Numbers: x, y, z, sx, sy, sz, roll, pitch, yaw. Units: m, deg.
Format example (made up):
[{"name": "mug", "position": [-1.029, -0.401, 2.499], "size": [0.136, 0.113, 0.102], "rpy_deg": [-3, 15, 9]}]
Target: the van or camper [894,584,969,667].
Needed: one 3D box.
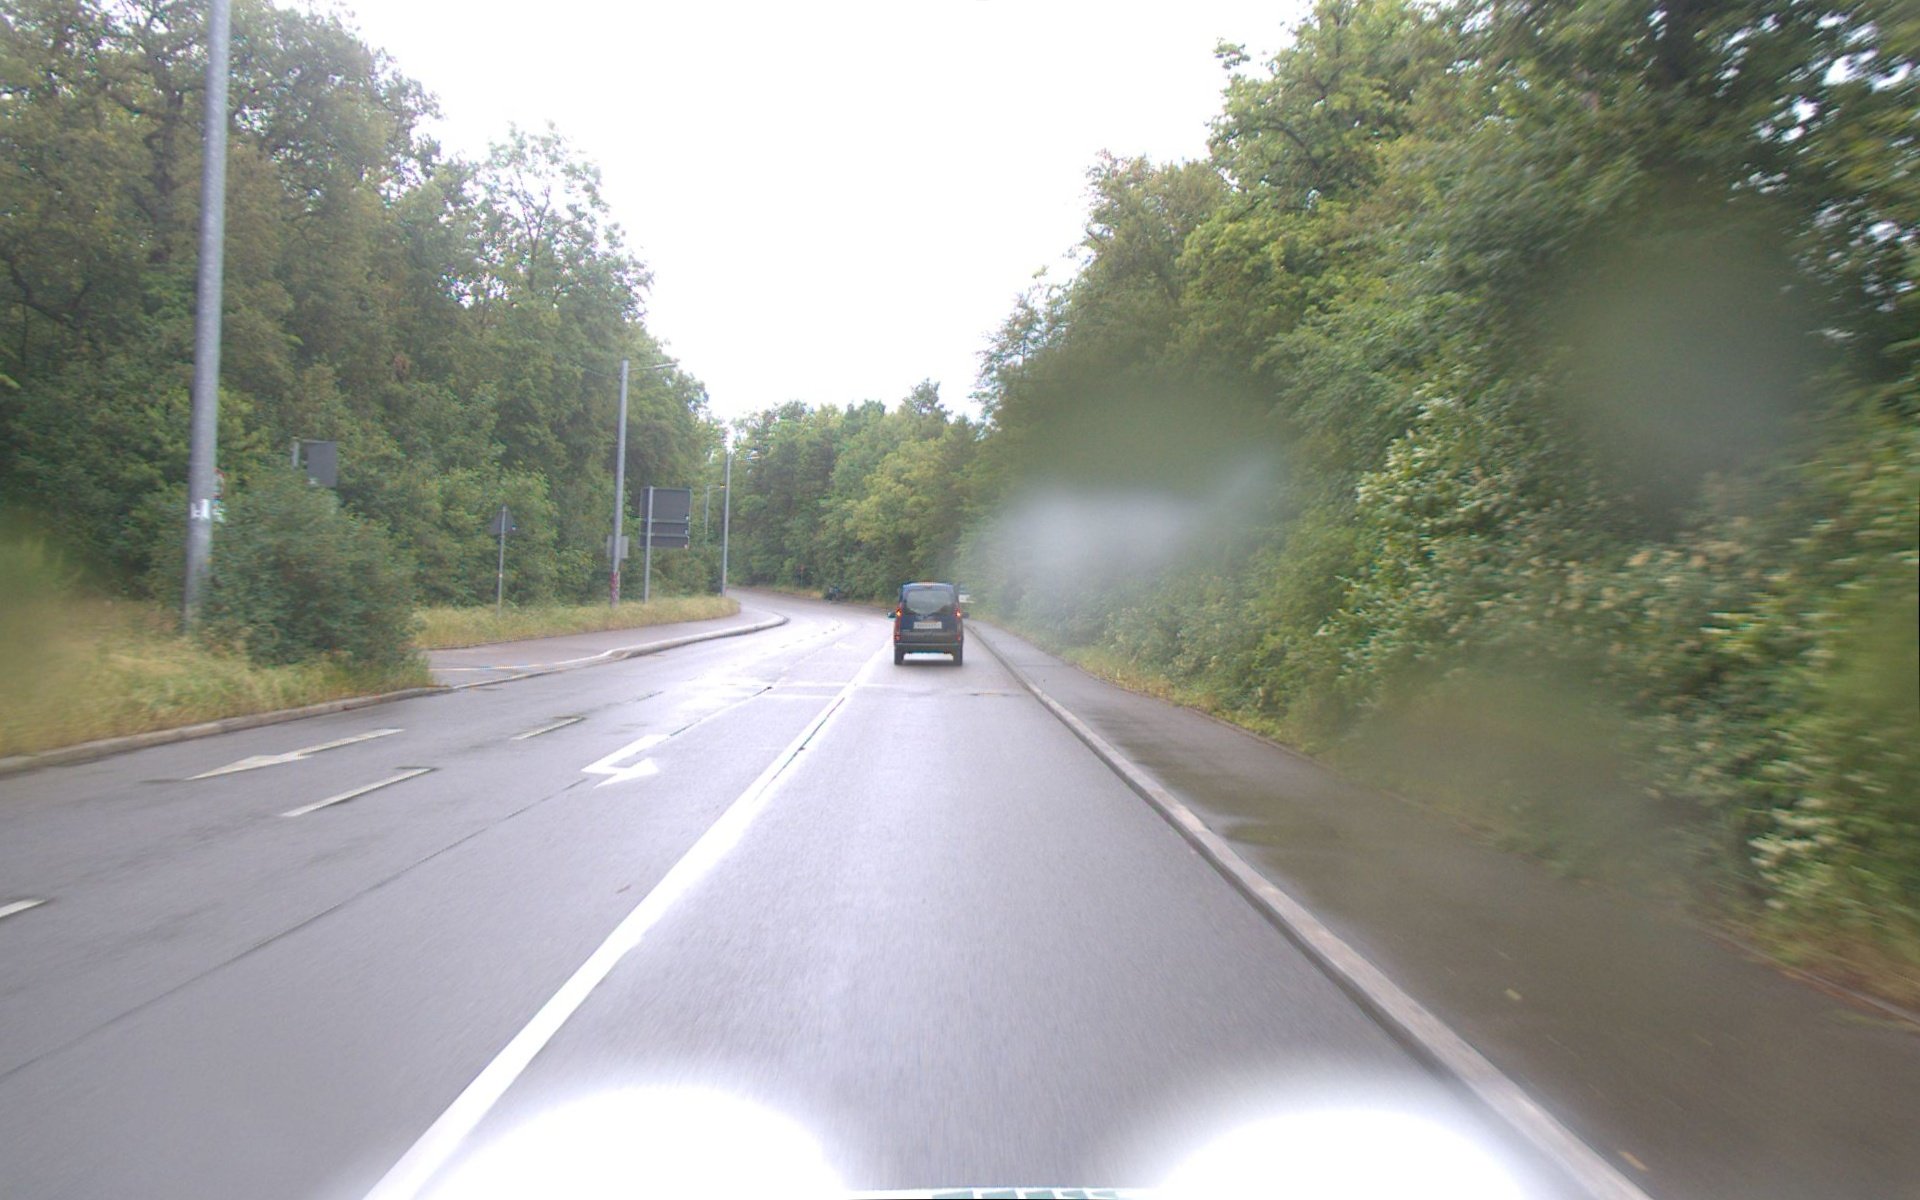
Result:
[{"name": "van or camper", "position": [-0.711, 0.572, 39.263], "size": [1.678, 1.858, 3.998], "rpy_deg": [0, 0, -2]}]

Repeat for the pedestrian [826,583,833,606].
[{"name": "pedestrian", "position": [-11.272, -0.479, 143.037], "size": [0.482, 1.903, 0.677], "rpy_deg": [1, 0, -14]}]
